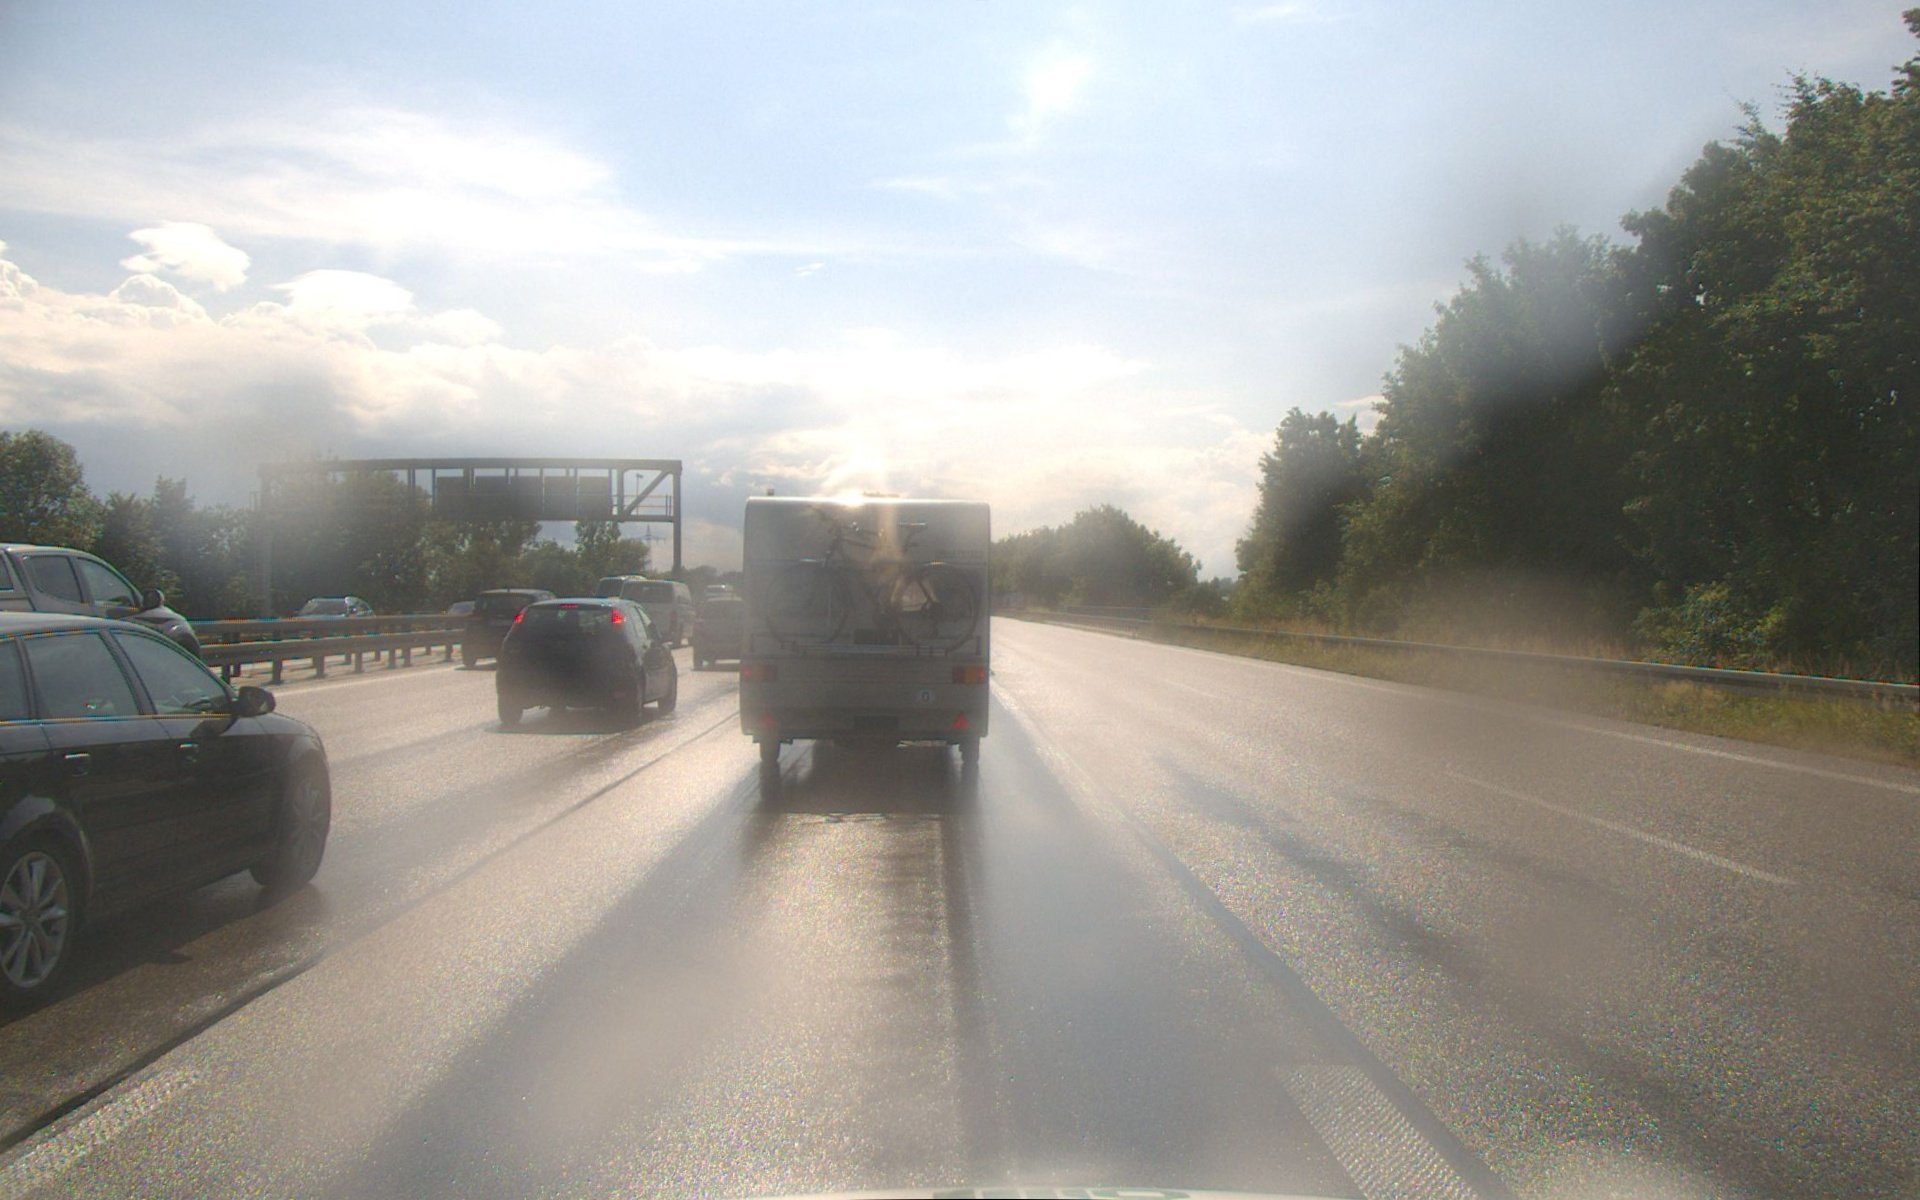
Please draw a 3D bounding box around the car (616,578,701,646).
[{"bbox_3d":[-9.127,0.346,50.429,1.810,1.967,5.014,1,0,-2],"label":"car"}]

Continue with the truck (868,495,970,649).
[{"bbox_3d":[-1.453,-0.857,56.188,3.083,4.707,10.730,1,0,-2],"label":"truck"}]

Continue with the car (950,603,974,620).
[{"bbox_3d":[0.190,1.080,151.197,1.840,1.521,3.996,1,0,-5],"label":"car"}]

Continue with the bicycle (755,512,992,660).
[{"bbox_3d":[-0.694,-0.109,13.506,1.894,1.161,0.384,1,-1,0],"label":"bicycle"}]

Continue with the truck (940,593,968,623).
[{"bbox_3d":[-0.537,0.657,141.680,2.366,2.486,6.052,1,0,-1],"label":"truck"}]

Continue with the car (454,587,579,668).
[{"bbox_3d":[-9.398,0.551,35.330,1.747,1.606,3.914,1,0,-2],"label":"car"}]

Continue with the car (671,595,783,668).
[{"bbox_3d":[-5.056,0.652,36.350,1.947,1.483,3.826,1,0,-1],"label":"car"}]

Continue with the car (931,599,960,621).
[{"bbox_3d":[-1.086,0.748,122.608,1.800,1.585,3.996,1,0,-5],"label":"car"}]

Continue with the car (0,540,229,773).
[{"bbox_3d":[-8.623,0.442,14.813,1.770,1.876,5.417,1,0,-1],"label":"car"}]

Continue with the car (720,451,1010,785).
[{"bbox_3d":[-0.801,0.160,15.694,2.361,2.721,3.999,1,0,-1],"label":"car"}]

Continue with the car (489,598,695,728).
[{"bbox_3d":[-4.524,0.713,20.907,1.723,1.468,3.999,1,0,-1],"label":"car"}]

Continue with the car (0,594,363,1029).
[{"bbox_3d":[-4.113,0.709,7.019,1.714,1.458,4.053,1,0,-1],"label":"car"}]

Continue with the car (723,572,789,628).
[{"bbox_3d":[-6.319,0.004,51.536,1.655,1.691,3.639,1,0,-2],"label":"car"}]
